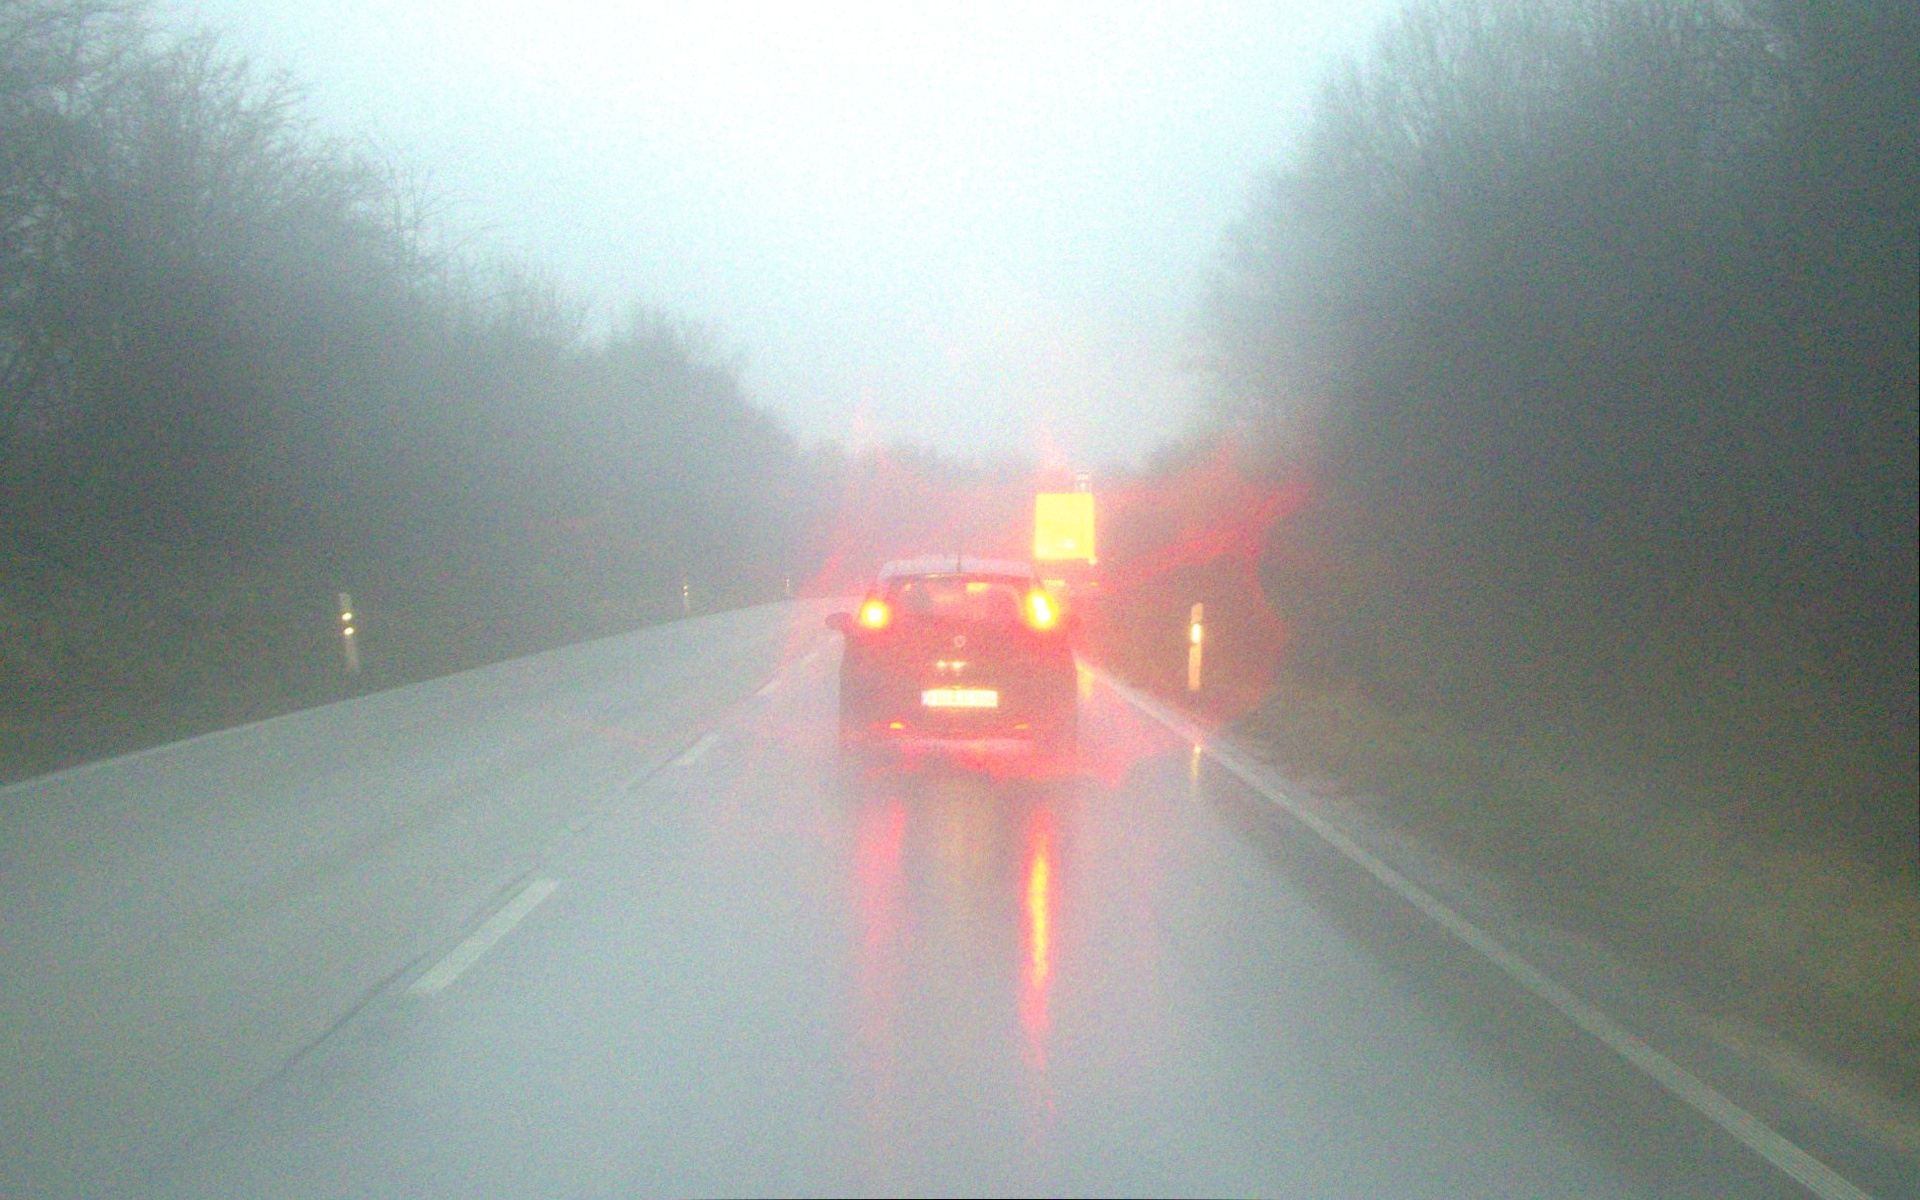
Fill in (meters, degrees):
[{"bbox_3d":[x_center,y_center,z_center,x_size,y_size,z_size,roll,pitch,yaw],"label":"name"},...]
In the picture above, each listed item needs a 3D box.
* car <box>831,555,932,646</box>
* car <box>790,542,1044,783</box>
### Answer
[{"bbox_3d":[-1.442,-0.009,64.359,1.728,1.638,4.000,0,1,1],"label":"car"},{"bbox_3d":[-0.265,0.403,25.432,1.728,1.638,4.000,0,1,1],"label":"car"}]
